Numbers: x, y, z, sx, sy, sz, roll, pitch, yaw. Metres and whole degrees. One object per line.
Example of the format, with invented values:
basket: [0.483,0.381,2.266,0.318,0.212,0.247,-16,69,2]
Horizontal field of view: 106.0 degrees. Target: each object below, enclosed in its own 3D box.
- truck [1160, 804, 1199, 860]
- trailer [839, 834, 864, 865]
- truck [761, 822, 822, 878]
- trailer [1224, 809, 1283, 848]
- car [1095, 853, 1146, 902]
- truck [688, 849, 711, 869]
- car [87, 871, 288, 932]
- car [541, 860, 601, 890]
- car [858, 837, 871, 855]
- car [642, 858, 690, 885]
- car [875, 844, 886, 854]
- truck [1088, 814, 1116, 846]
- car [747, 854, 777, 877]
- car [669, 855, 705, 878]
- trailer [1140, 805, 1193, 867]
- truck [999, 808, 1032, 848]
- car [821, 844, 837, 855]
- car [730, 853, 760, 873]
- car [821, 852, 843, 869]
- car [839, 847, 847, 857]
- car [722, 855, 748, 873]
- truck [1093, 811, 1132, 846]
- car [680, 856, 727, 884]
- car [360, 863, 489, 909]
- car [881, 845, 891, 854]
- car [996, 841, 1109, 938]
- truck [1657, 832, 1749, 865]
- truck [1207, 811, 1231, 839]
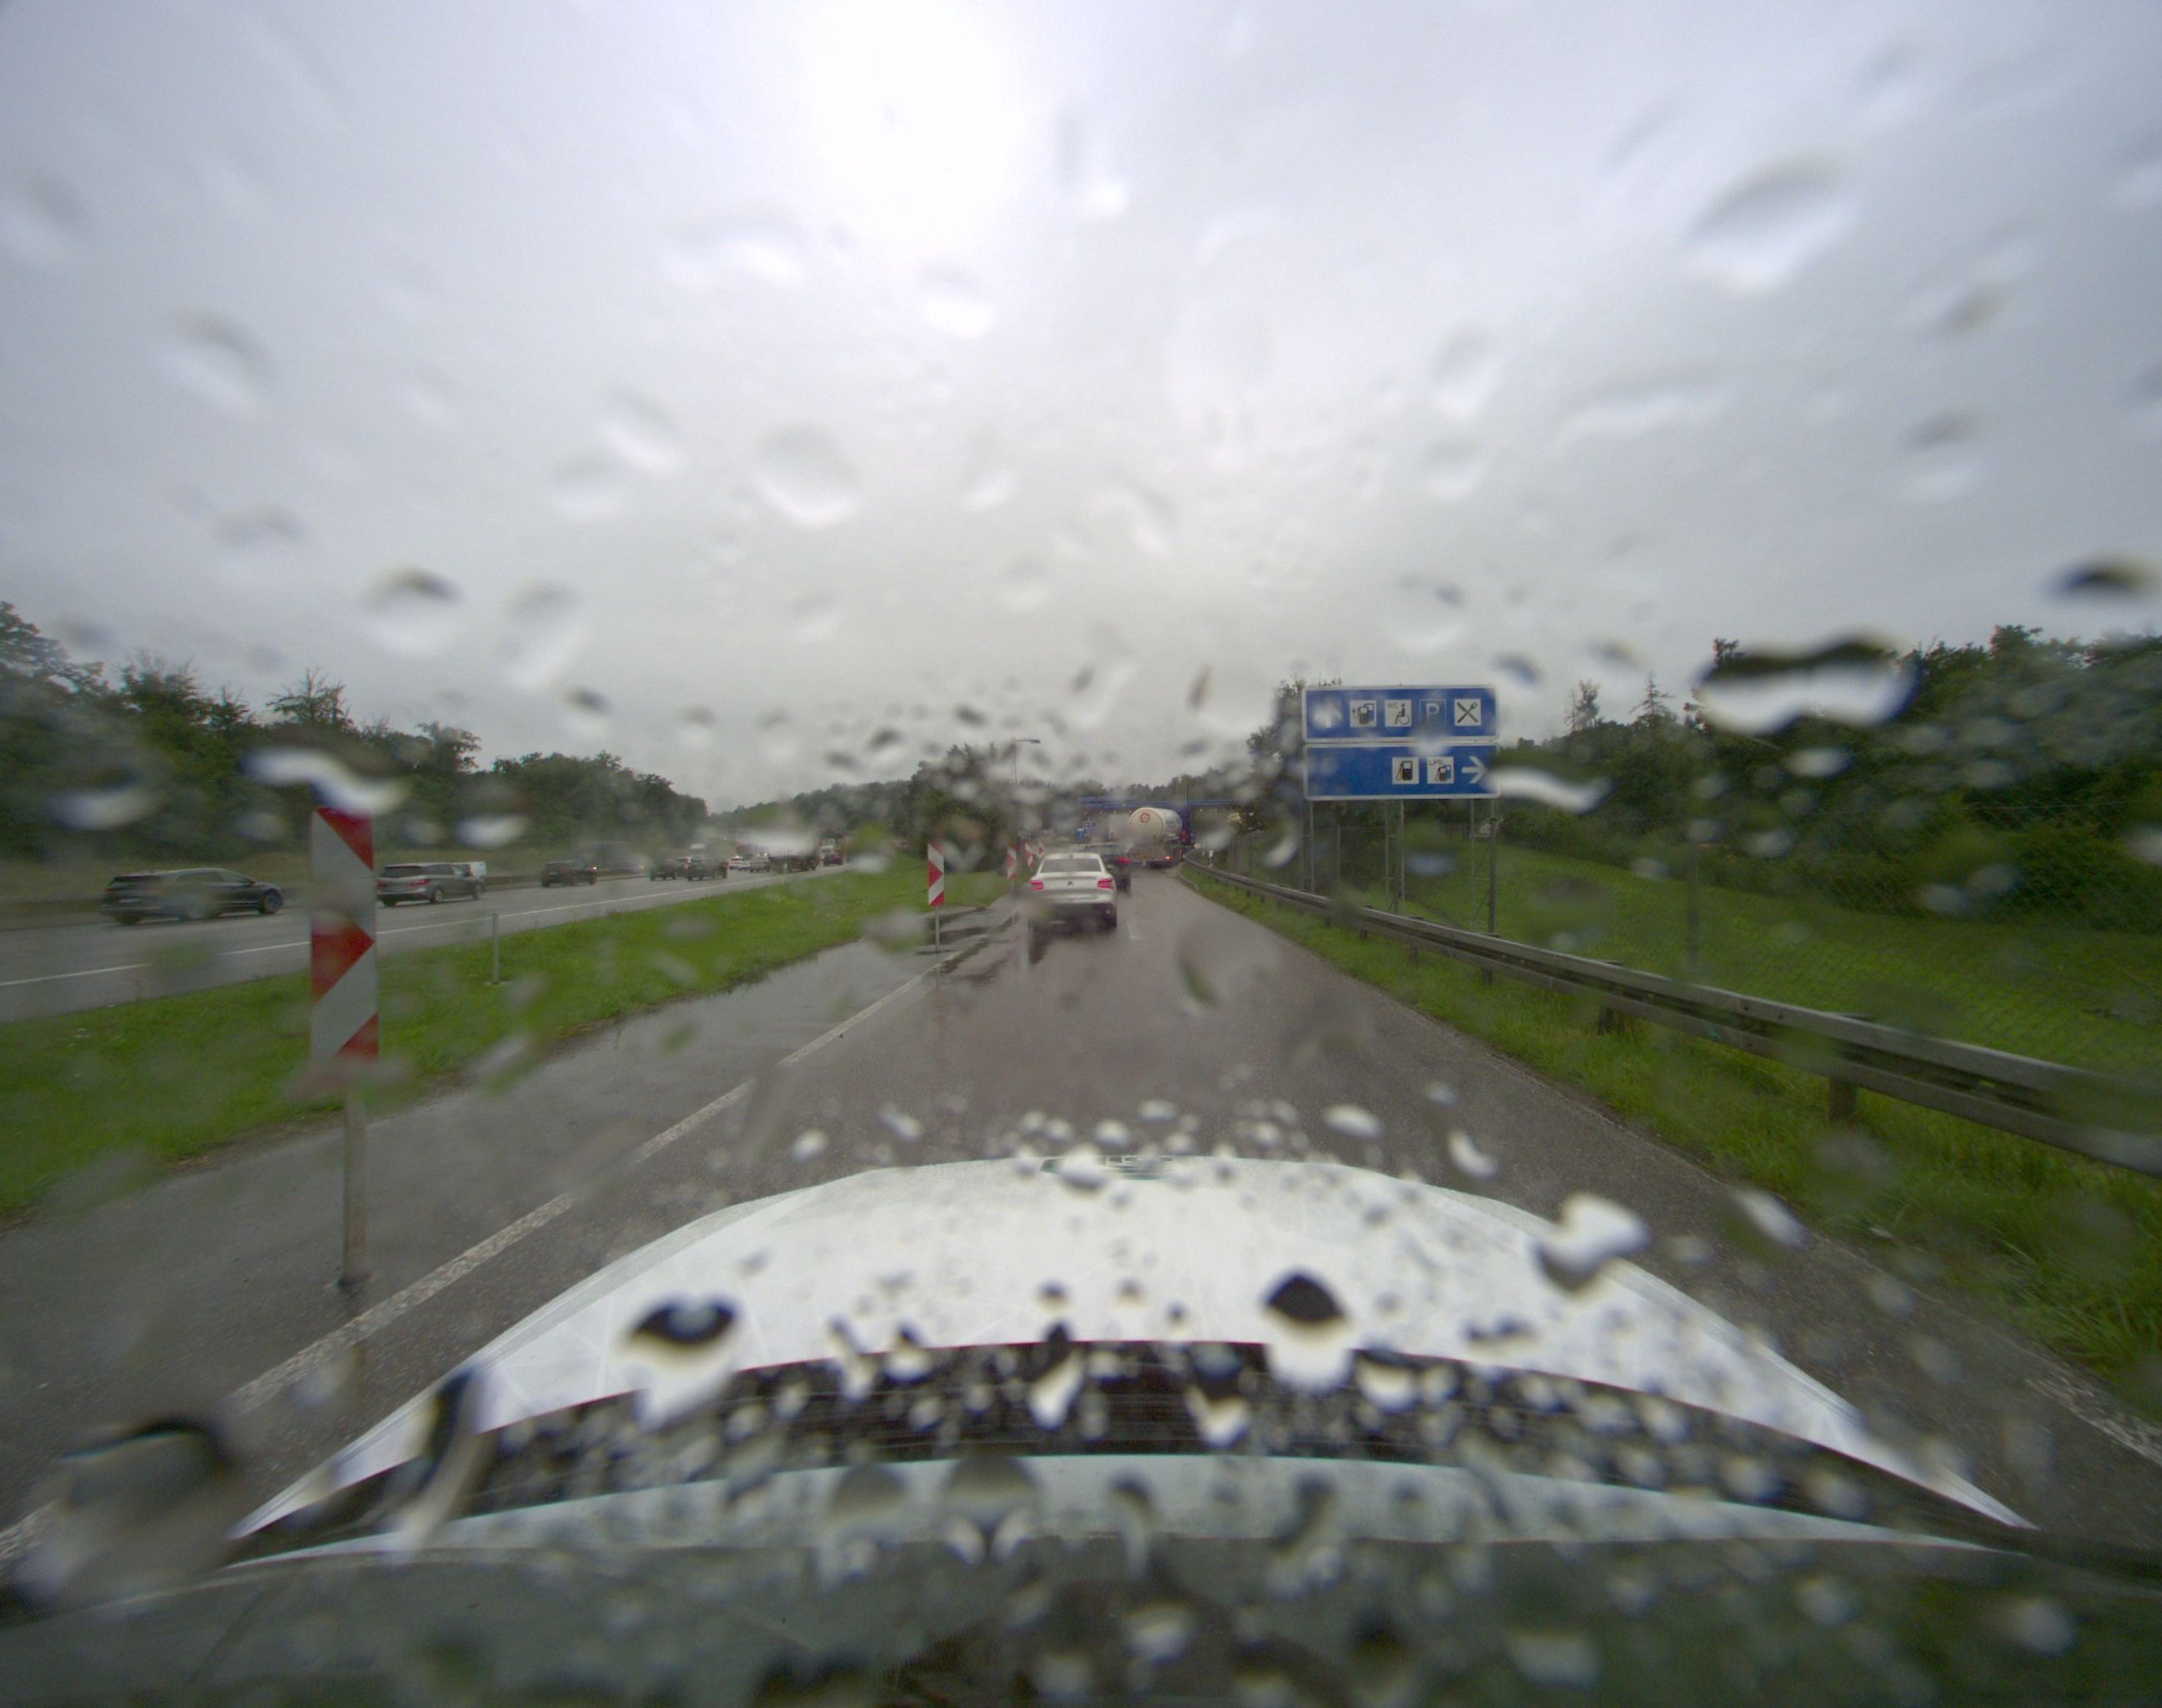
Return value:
truck: [6.654,-1.486,54.642,2.039,3.530,4.763,-1,1,13]
trailer: [-36.568,-0.666,130.076,3.555,4.612,12.058,-2,0,-15]
truck: [-24.781,-0.259,70.400,2.850,4.292,11.800,-4,0,-10]
trailer: [16.455,-2.466,76.891,2.110,3.440,10.319,-1,2,31]
car: [1.467,0.838,30.422,1.735,1.667,4.002,1,0,3]
truck: [-72.766,1.000,155.308,2.714,3.533,4.747,2,1,-10]
car: [-27.938,1.420,25.734,1.717,1.574,4.449,-3,0,-7]
car: [-32.872,1.328,52.590,1.775,1.736,4.086,-2,0,-9]
car: [-42.564,-1.519,160.433,2.376,3.485,4.791,1,0,-15]
car: [-30.061,1.225,59.131,1.775,1.736,4.087,-3,1,-9]
car: [-44.577,-1.133,181.088,1.998,2.014,3.977,1,0,-17]
truck: [2.642,-3.067,104.380,2.370,3.873,6.992,-2,2,-8]
car: [-29.149,1.021,74.507,1.789,1.971,4.318,-1,0,-11]
car: [-37.335,1.178,77.295,1.994,2.013,3.986,-2,0,-10]
trailer: [5.187,-1.103,47.847,1.967,3.224,10.357,-1,2,12]
truck: [-6.687,-2.625,82.643,2.914,3.903,6.300,-2,2,-8]
car: [-41.822,-0.799,135.262,1.992,1.816,3.989,-1,0,-8]
car: [-35.751,0.953,86.750,1.994,2.013,3.986,-3,0,-10]
car: [-28.852,0.749,94.492,1.994,1.816,3.986,-1,0,-10]
car: [-54.081,-0.401,185.079,1.678,2.014,3.977,5,-2,-17]
car: [-41.448,1.137,97.625,1.994,2.013,3.986,-2,0,-10]
truck: [3.643,-3.023,97.592,2.369,3.873,12.420,-2,2,-8]
car: [-25.002,1.009,54.097,1.775,1.736,3.834,-2,0,-9]
car: [-25.320,1.174,31.634,1.786,1.526,4.325,-2,0,-6]
car: [-47.954,-1.095,200.429,1.998,2.014,3.977,1,0,-17]
car: [-0.483,0.649,16.955,1.986,1.679,4.001,-3,0,1]
truck: [56.316,-0.535,74.021,2.810,2.661,8.283,4,2,8]
truck: [19.345,-4.078,114.358,2.420,3.805,3.995,-2,2,-4]
